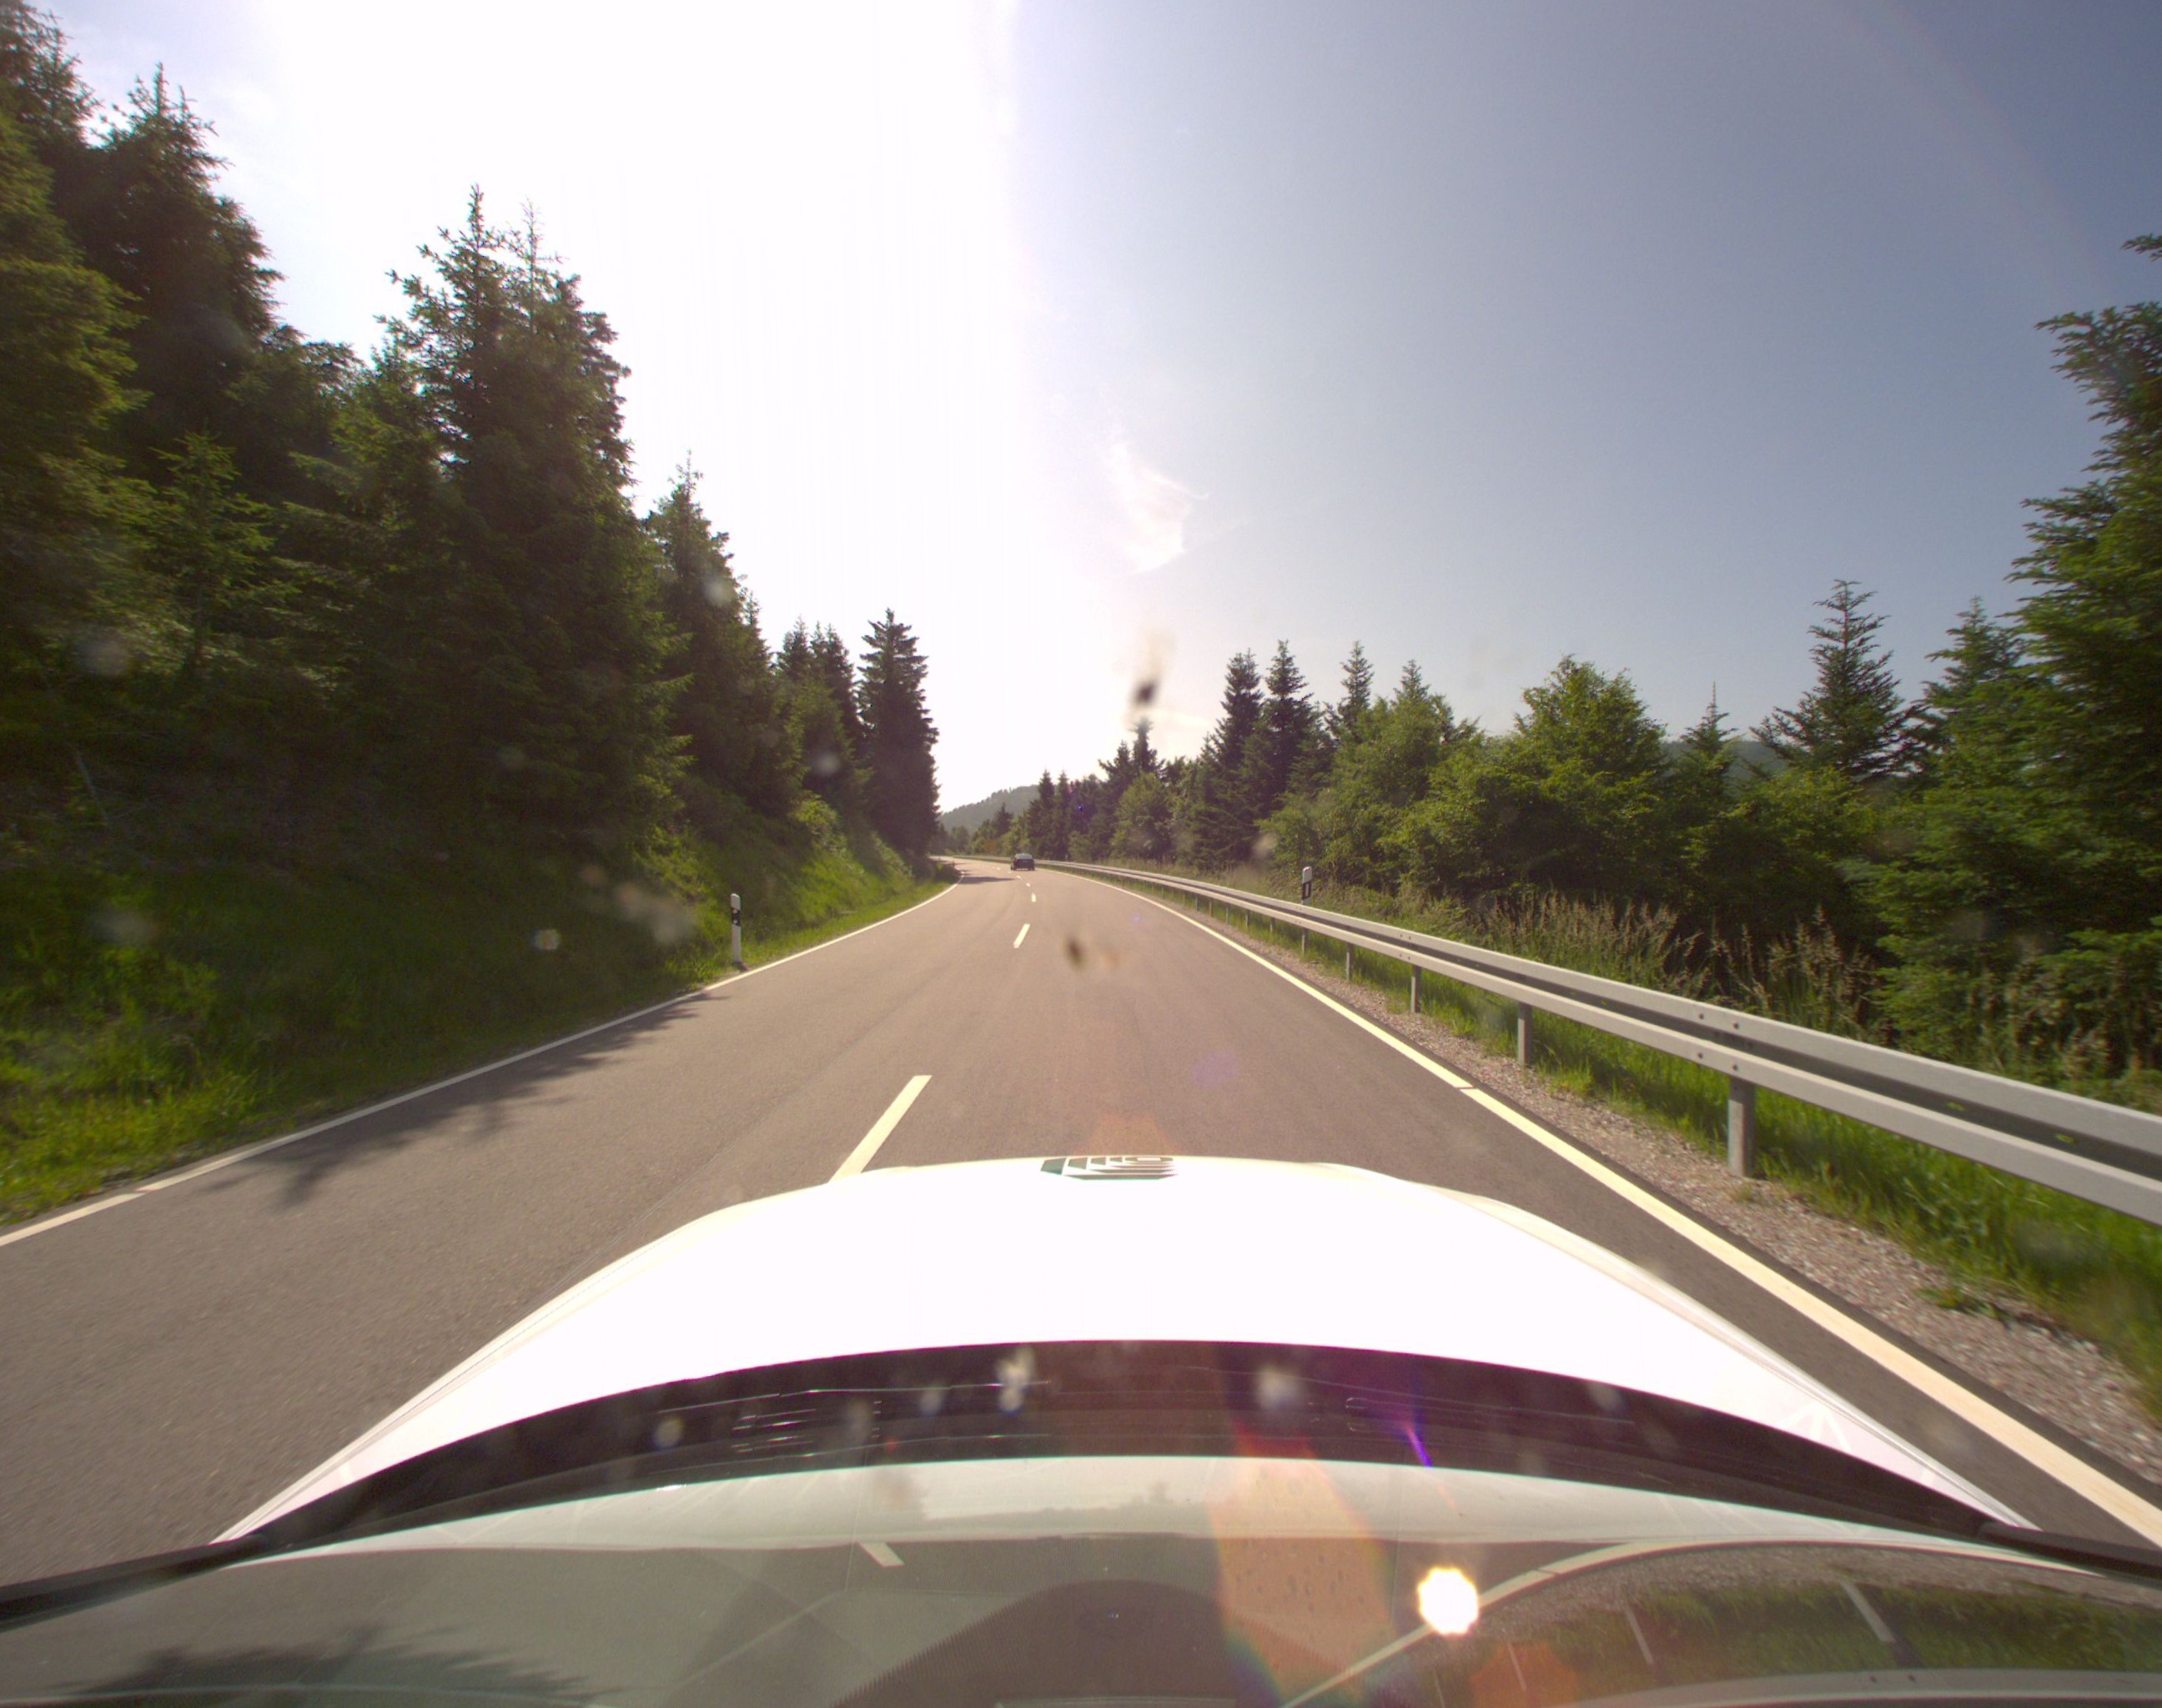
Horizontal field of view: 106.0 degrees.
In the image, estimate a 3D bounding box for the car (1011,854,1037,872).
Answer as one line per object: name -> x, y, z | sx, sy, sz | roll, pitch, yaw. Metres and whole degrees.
car -> -4.887, 0.738, 69.577 | 1.776, 1.442, 3.696 | -2, 0, -10
